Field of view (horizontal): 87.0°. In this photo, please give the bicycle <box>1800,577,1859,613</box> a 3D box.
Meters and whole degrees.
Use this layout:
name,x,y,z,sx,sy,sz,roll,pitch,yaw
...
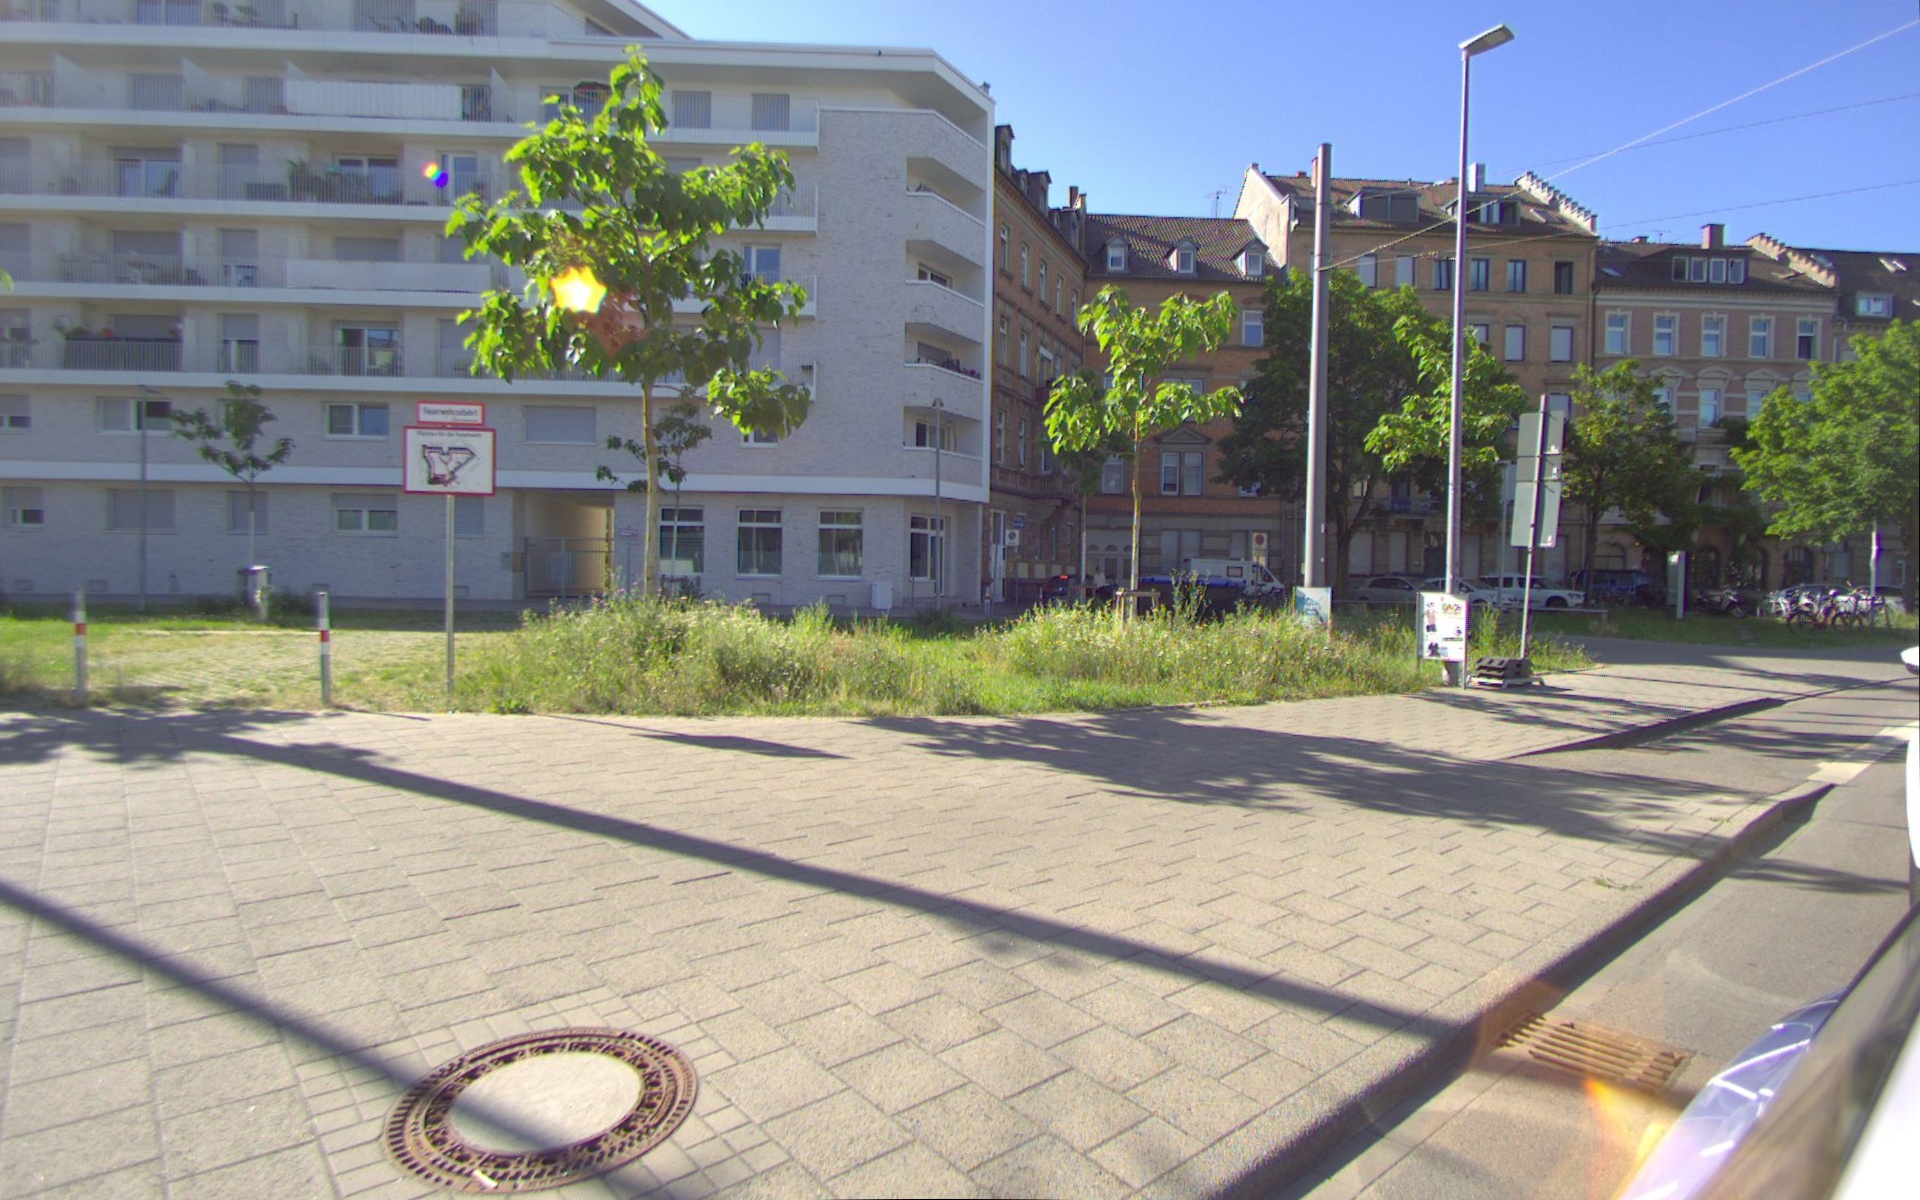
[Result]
name,x,y,z,sx,sy,sz,roll,pitch,yaw
bicycle,32.041,-0.194,37.331,0.653,1.284,2.196,0,0,12

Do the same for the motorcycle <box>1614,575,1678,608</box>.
name,x,y,z,sx,sy,sz,roll,pitch,yaw
motorcycle,27.494,-0.335,40.608,0.649,1.284,2.209,0,0,-18

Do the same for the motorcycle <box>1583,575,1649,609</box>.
name,x,y,z,sx,sy,sz,roll,pitch,yaw
motorcycle,26.032,-0.329,40.223,0.649,1.293,2.324,0,0,-18

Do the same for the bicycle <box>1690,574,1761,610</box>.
name,x,y,z,sx,sy,sz,roll,pitch,yaw
bicycle,28.376,-0.311,37.562,0.649,1.284,2.208,0,0,-11

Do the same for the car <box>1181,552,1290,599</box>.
name,x,y,z,sx,sy,sz,roll,pitch,yaw
car,12.667,-1.154,46.781,4.416,2.062,2.054,1,2,0

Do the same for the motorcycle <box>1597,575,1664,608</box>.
name,x,y,z,sx,sy,sz,roll,pitch,yaw
motorcycle,26.703,-0.337,40.354,0.649,1.300,2.324,0,0,-18

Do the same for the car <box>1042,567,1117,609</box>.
name,x,y,z,sx,sy,sz,roll,pitch,yaw
car,4.572,-0.505,38.296,1.811,1.444,4.359,1,2,21

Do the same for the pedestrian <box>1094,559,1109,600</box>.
name,x,y,z,sx,sy,sz,roll,pitch,yaw
pedestrian,5.116,-0.734,36.536,0.500,1.474,0.480,0,0,11

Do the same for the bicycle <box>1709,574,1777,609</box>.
name,x,y,z,sx,sy,sz,roll,pitch,yaw
bicycle,29.730,-0.327,38.460,0.649,1.284,2.208,0,0,-9

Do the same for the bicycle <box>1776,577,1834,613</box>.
name,x,y,z,sx,sy,sz,roll,pitch,yaw
bicycle,30.946,-0.186,37.107,0.653,1.284,2.196,0,0,12

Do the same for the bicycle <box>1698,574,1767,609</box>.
name,x,y,z,sx,sy,sz,roll,pitch,yaw
bicycle,29.087,-0.320,38.149,0.649,1.284,2.208,0,0,-9

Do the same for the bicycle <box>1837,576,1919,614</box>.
name,x,y,z,sx,sy,sz,roll,pitch,yaw
bicycle,31.635,-0.167,34.760,2.180,1.284,0.657,0,0,25

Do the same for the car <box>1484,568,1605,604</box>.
name,x,y,z,sx,sy,sz,roll,pitch,yaw
car,22.335,-0.579,38.771,1.513,1.267,3.700,-1,3,-39

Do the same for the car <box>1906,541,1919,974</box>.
name,x,y,z,sx,sy,sz,roll,pitch,yaw
car,5.873,0.607,4.714,4.323,1.667,1.840,0,0,-43

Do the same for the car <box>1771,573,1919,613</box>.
name,x,y,z,sx,sy,sz,roll,pitch,yaw
car,34.691,-0.322,39.589,1.651,1.423,4.324,-1,3,-38

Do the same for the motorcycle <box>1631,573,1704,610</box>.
name,x,y,z,sx,sy,sz,roll,pitch,yaw
motorcycle,26.160,-0.322,37.466,0.649,1.339,2.208,0,0,-23

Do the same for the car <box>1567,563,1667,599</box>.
name,x,y,z,sx,sy,sz,roll,pitch,yaw
car,30.882,-0.921,47.647,3.631,1.607,1.552,1,2,0

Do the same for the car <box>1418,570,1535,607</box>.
name,x,y,z,sx,sy,sz,roll,pitch,yaw
car,19.678,-0.468,38.715,1.648,1.267,3.709,0,3,-28

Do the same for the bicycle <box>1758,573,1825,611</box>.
name,x,y,z,sx,sy,sz,roll,pitch,yaw
bicycle,29.280,-0.293,35.670,0.651,1.284,2.202,0,0,4

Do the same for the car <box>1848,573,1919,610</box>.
name,x,y,z,sx,sy,sz,roll,pitch,yaw
car,37.828,-0.330,39.958,1.649,1.423,3.832,-1,3,-32

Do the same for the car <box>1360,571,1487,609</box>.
name,x,y,z,sx,sy,sz,roll,pitch,yaw
car,17.355,-0.422,38.105,1.648,1.267,4.170,0,3,-28

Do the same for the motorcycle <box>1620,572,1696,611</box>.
name,x,y,z,sx,sy,sz,roll,pitch,yaw
motorcycle,25.344,-0.307,36.777,0.650,1.347,2.207,0,0,-28
